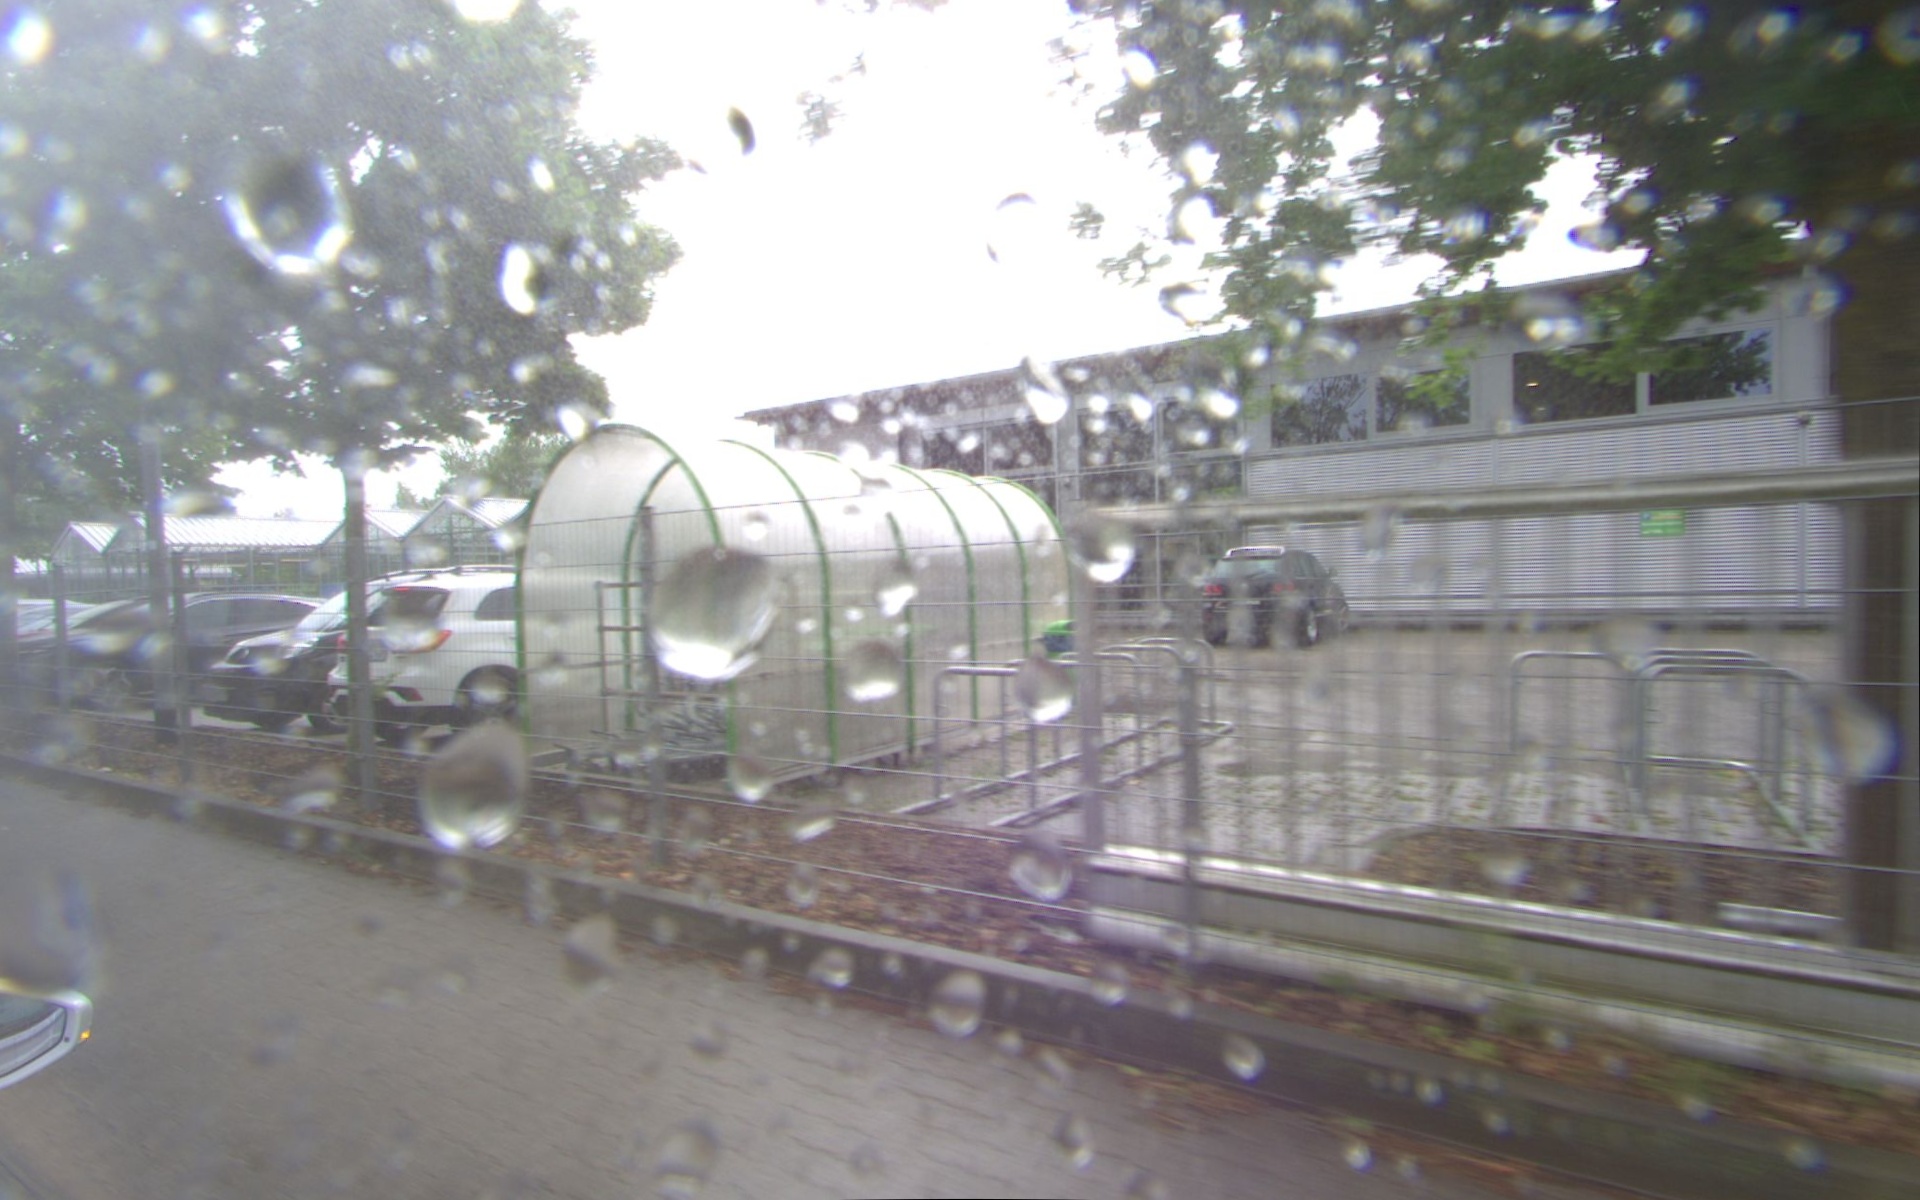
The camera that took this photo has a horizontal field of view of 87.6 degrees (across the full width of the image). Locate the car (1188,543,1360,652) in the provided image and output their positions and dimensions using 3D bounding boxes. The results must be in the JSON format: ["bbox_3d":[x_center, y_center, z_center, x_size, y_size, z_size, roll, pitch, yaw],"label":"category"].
[{"bbox_3d":[6.212,-0.123,19.449,2.035,1.858,4.348,0,2,34],"label":"car"}]

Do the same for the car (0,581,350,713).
[{"bbox_3d":[-11.771,0.572,14.973,1.794,1.640,4.205,0,1,26],"label":"car"}]

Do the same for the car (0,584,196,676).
[{"bbox_3d":[-17.904,0.553,19.676,1.794,1.640,4.205,0,1,26],"label":"car"}]

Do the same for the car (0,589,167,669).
[{"bbox_3d":[-19.774,0.600,21.279,1.794,1.555,4.205,0,1,26],"label":"car"}]

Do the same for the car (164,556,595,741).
[{"bbox_3d":[-6.715,0.434,12.144,1.794,1.818,4.205,0,1,26],"label":"car"}]

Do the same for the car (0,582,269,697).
[{"bbox_3d":[-14.156,0.569,16.499,1.794,1.640,4.205,0,1,26],"label":"car"}]

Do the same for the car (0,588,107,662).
[{"bbox_3d":[-22.142,0.589,22.436,1.794,1.610,4.205,0,1,26],"label":"car"}]

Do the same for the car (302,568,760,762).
[{"bbox_3d":[-4.271,0.496,10.686,1.798,1.623,4.198,0,2,32],"label":"car"}]

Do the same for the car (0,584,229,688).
[{"bbox_3d":[-15.837,0.580,17.790,1.794,1.640,4.205,0,1,26],"label":"car"}]

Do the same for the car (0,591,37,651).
[{"bbox_3d":[-27.374,0.607,26.330,1.796,1.610,4.200,0,2,30],"label":"car"}]
